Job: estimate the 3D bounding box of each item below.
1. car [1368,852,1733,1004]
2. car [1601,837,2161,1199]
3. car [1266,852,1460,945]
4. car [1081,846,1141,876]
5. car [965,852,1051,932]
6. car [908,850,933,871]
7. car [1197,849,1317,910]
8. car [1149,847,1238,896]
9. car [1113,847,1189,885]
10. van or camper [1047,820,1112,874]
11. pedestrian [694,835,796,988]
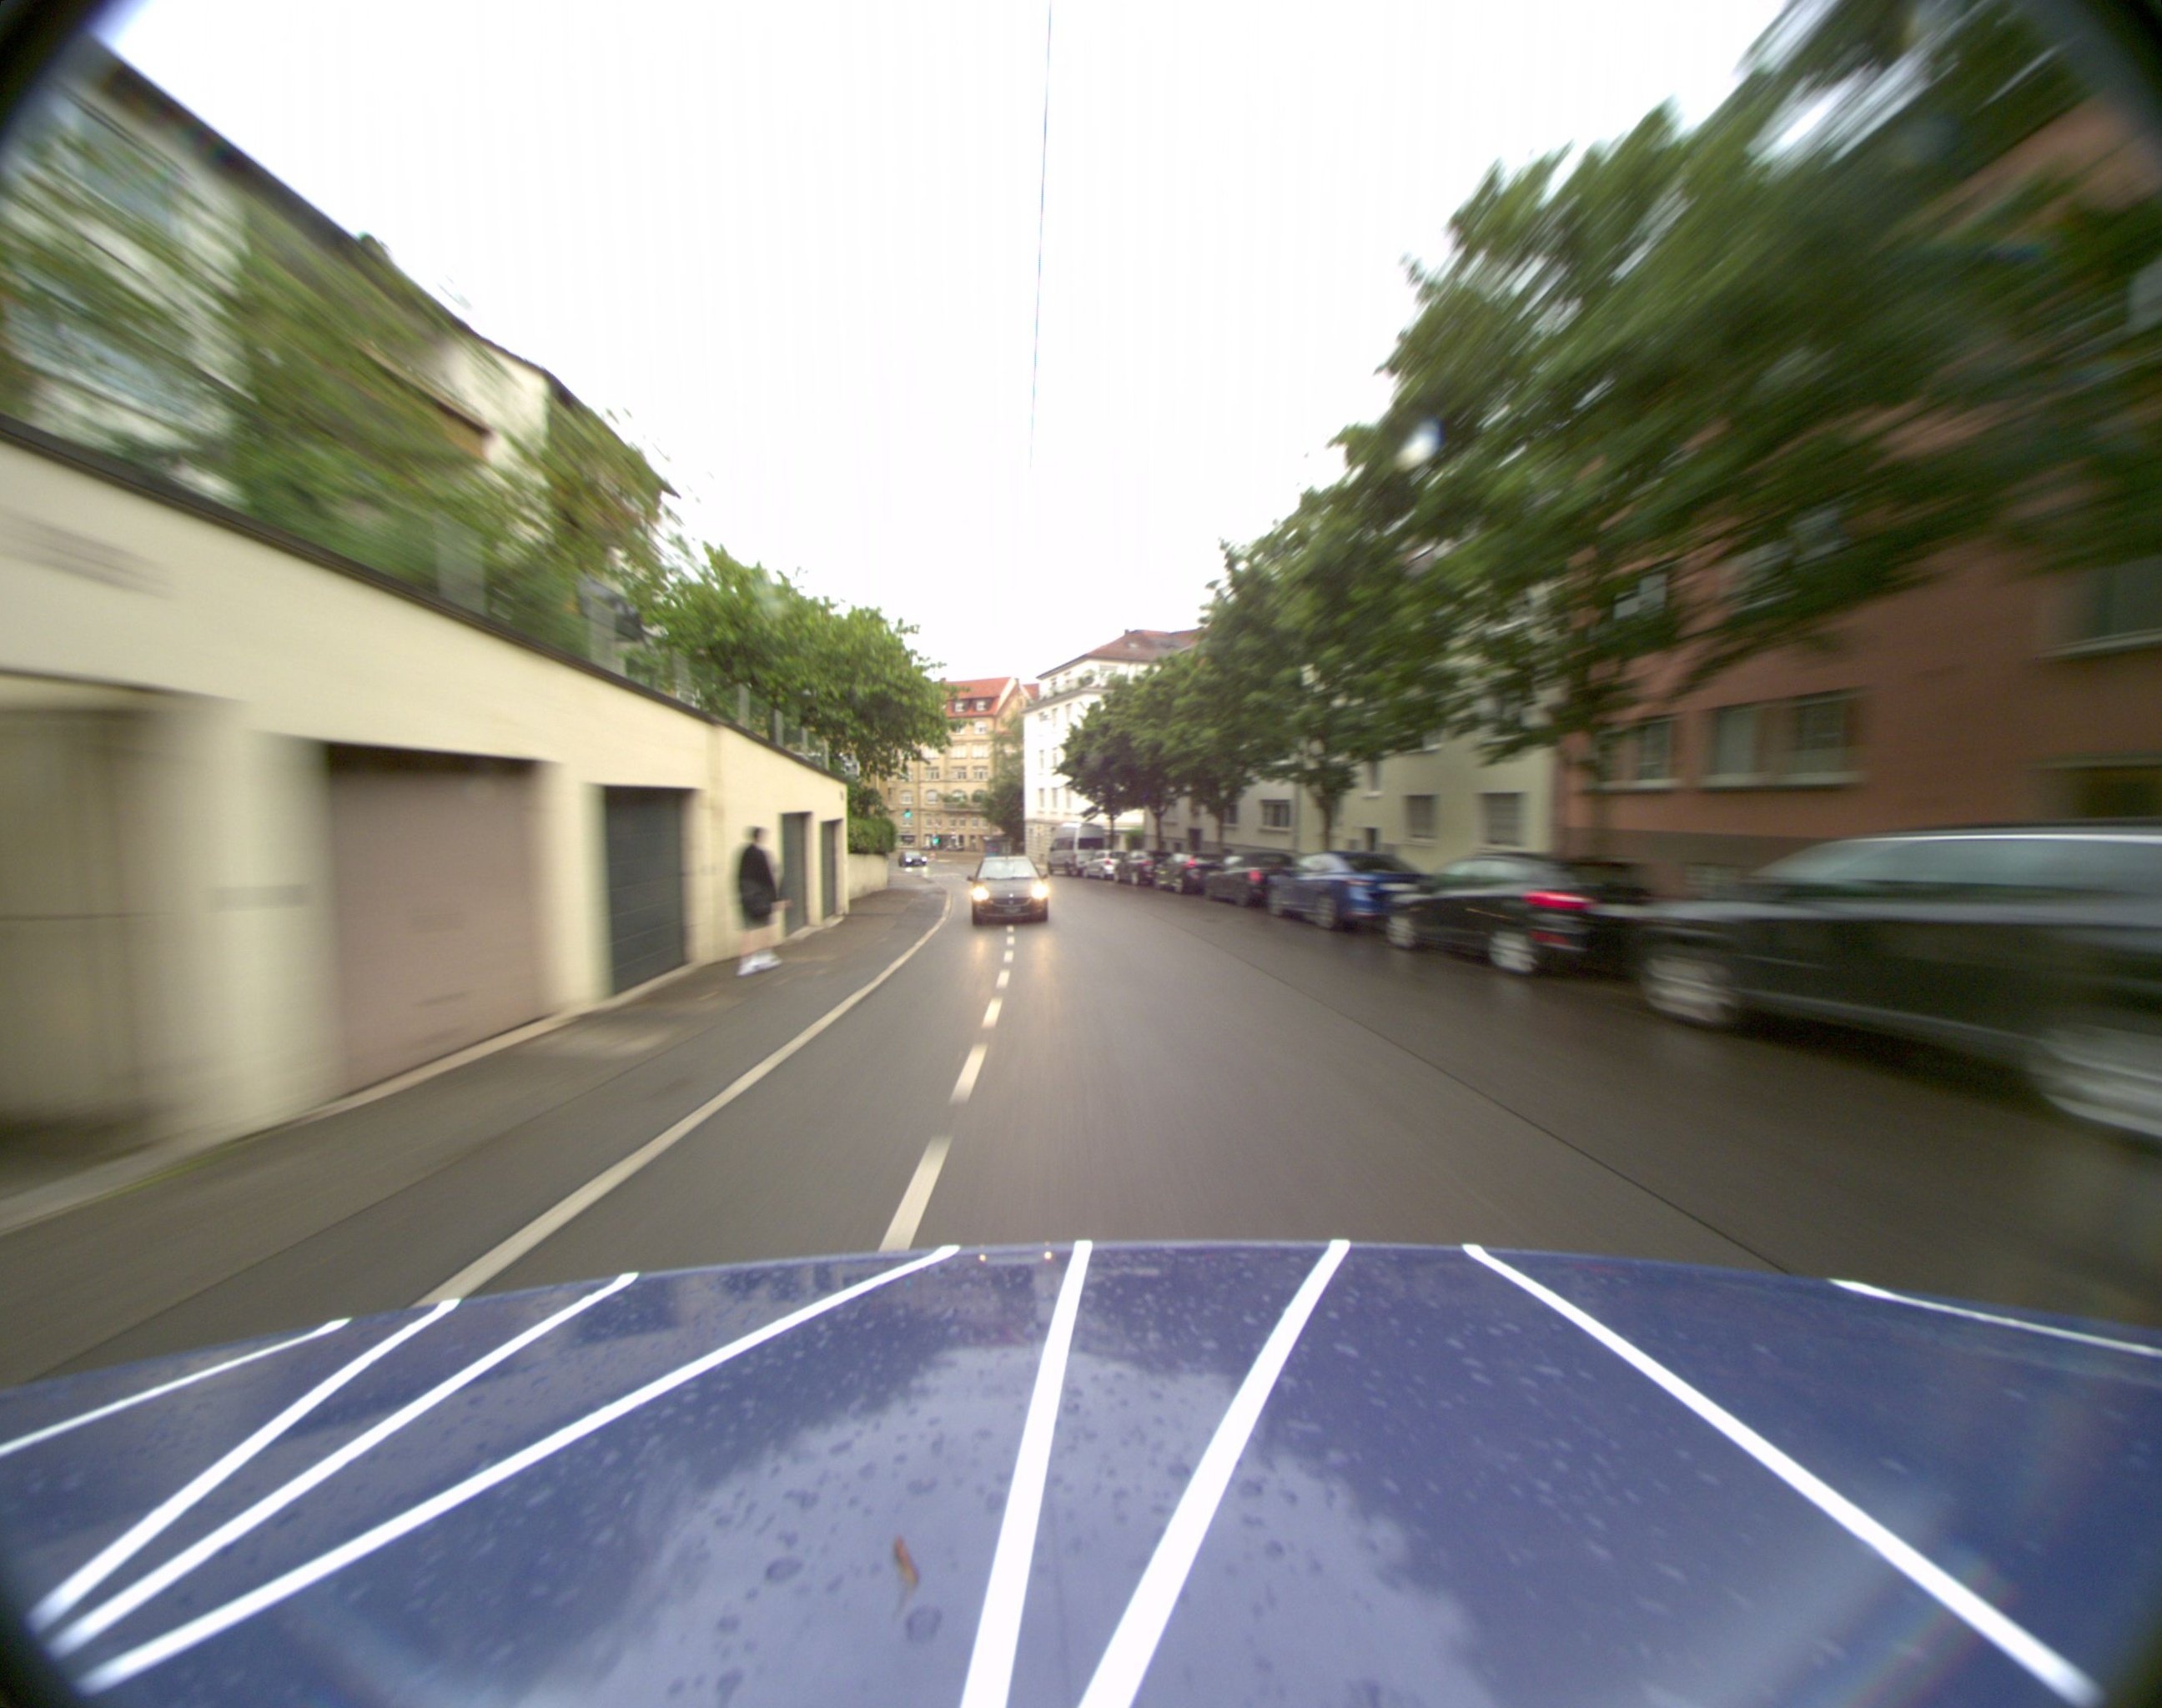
[{"bbox_3d":[5.667,0.750,9.978,1.792,1.484,4.358,-1,1,-6],"label":"car"},{"bbox_3d":[5.719,0.721,4.712,1.792,1.632,4.478,-1,1,-2],"label":"car"},{"bbox_3d":[5.268,0.726,15.000,1.792,1.484,4.859,-1,1,-3],"label":"car"},{"bbox_3d":[1.433,0.306,37.737,1.592,1.401,4.040,-1,1,-19],"label":"car"},{"bbox_3d":[-1.649,0.795,17.883,1.698,1.456,3.997,-4,2,-4],"label":"car"},{"bbox_3d":[-14.917,0.573,70.400,1.899,1.686,3.993,-4,2,-16],"label":"car"},{"bbox_3d":[4.747,0.616,21.153,1.793,1.484,4.357,-1,1,-9],"label":"car"},{"bbox_3d":[3.830,0.542,26.697,1.793,1.485,4.640,-2,1,-8],"label":"car"},{"bbox_3d":[2.837,0.455,31.828,1.794,1.484,4.492,0,1,-13],"label":"car"},{"bbox_3d":[-0.193,-0.379,43.232,2.075,2.843,5.738,0,1,-18],"label":"van or camper"},{"bbox_3d":[-4.194,0.686,9.556,0.901,1.840,0.802,0,2,-2],"label":"pedestrian"}]
